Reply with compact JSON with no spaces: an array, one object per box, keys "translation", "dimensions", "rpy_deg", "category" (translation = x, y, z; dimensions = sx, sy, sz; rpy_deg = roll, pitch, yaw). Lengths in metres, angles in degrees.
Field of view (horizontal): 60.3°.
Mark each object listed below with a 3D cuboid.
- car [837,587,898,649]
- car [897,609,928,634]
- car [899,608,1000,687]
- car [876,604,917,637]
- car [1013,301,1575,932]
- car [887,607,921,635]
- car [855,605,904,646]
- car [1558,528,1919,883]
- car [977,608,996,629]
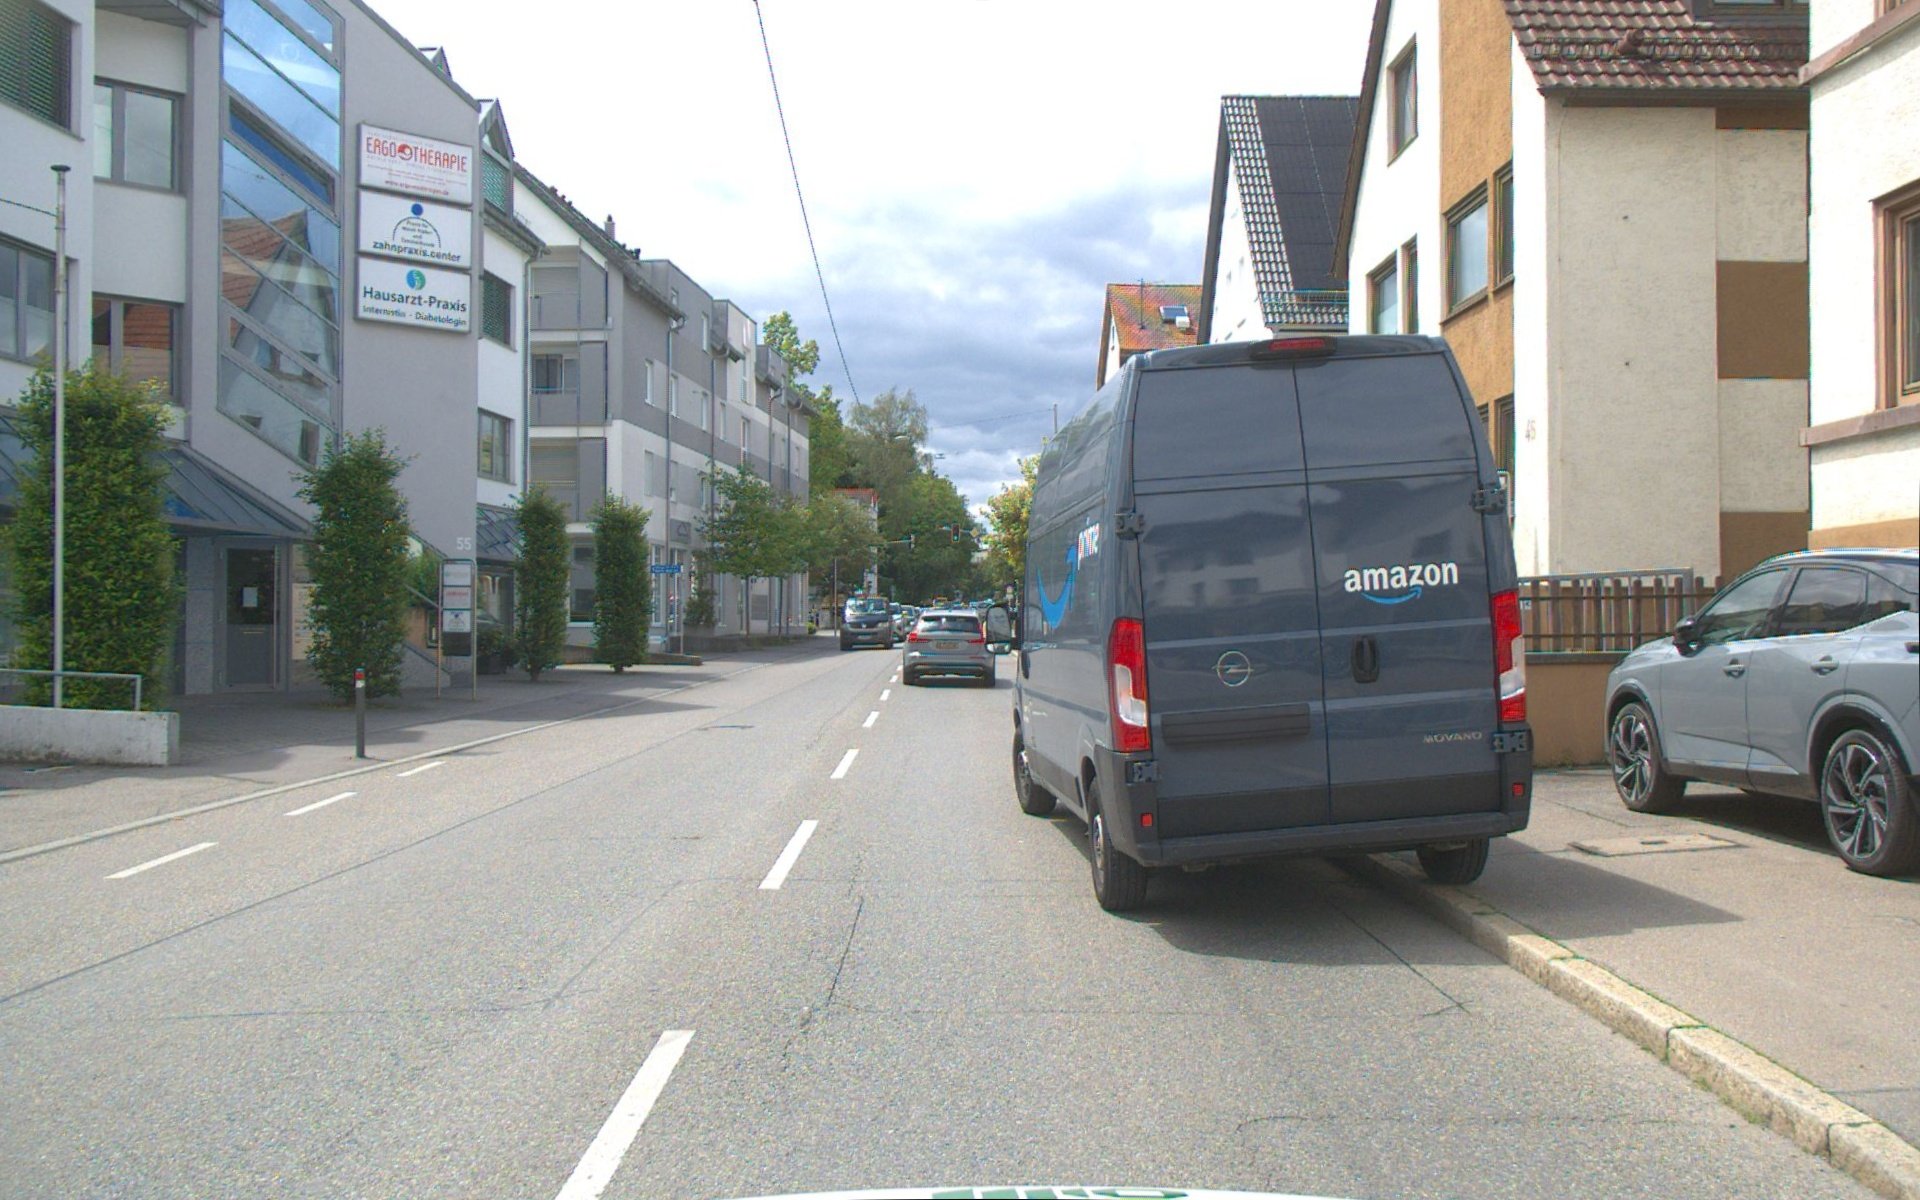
[{"translation":[-3.454,0.657,62.327],"dimensions":[2.063,2.158,4.764],"rpy_deg":[-2,0,-1],"category":"car"},{"translation":[-3.151,1.445,110.848],"dimensions":[2.063,1.624,4.648],"rpy_deg":[0,0,-1],"category":"car"},{"translation":[-0.153,0.920,33.629],"dimensions":[1.857,1.479,3.969],"rpy_deg":[1,0,2],"category":"car"},{"translation":[-3.269,1.060,86.029],"dimensions":[2.063,1.624,4.648],"rpy_deg":[0,0,-1],"category":"car"},{"translation":[1.610,0.085,10.282],"dimensions":[2.207,2.844,5.567],"rpy_deg":[0,0,-2],"category":"car"},{"translation":[-3.410,1.280,101.334],"dimensions":[2.063,1.624,4.648],"rpy_deg":[0,0,-1],"category":"car"},{"translation":[-3.584,1.128,74.295],"dimensions":[2.063,1.740,4.764],"rpy_deg":[0,0,-1],"category":"car"},{"translation":[5.288,0.469,9.648],"dimensions":[1.823,1.640,4.584],"rpy_deg":[-1,0,-1],"category":"car"},{"translation":[2.716,1.886,169.996],"dimensions":[1.952,2.049,4.000],"rpy_deg":[0,0,1],"category":"car"}]
